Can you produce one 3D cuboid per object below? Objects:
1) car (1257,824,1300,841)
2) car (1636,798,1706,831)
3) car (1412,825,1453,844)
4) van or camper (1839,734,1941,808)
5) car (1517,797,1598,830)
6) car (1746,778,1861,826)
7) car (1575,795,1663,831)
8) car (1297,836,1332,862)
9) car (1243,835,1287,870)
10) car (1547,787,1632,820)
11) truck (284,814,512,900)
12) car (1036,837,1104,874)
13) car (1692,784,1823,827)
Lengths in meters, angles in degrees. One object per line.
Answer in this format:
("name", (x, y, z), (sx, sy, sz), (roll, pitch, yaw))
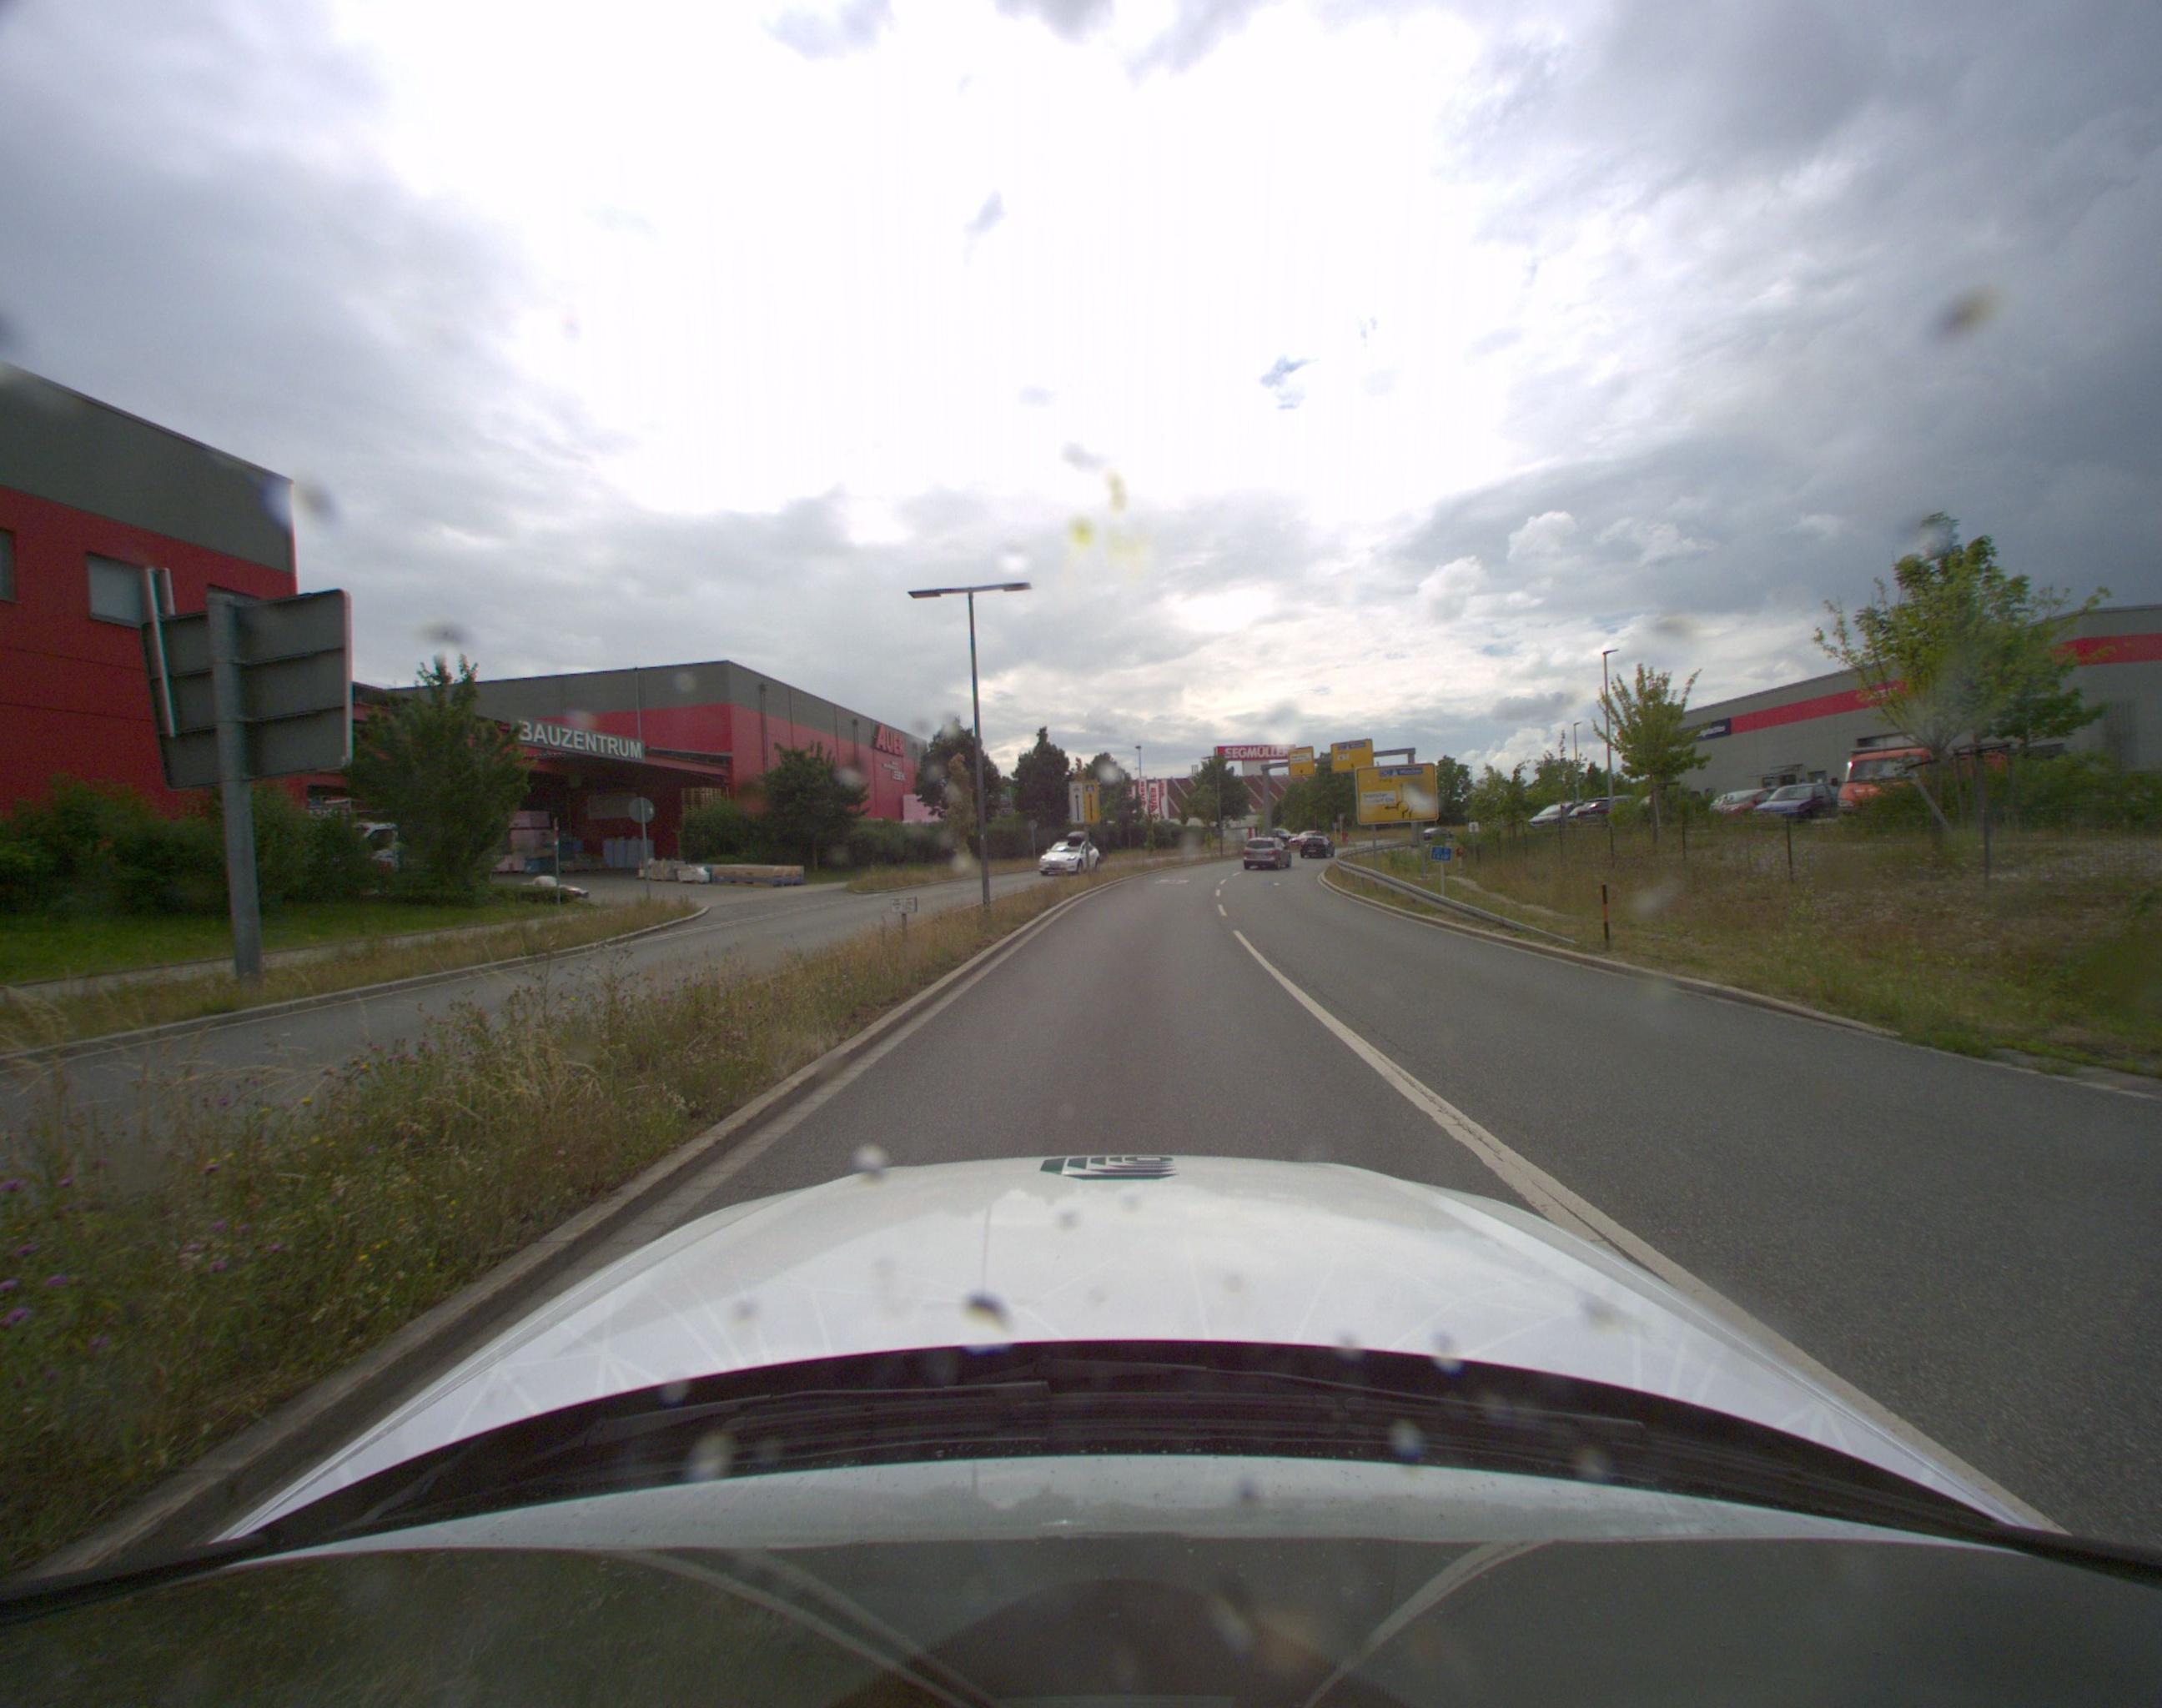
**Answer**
("car", (19.766, -2.131, 81.519), (1.878, 1.549, 4.219), (-3, 2, -26))
("car", (37.153, -2.464, 51.408), (1.691, 1.811, 3.976), (-5, 0, 5))
("car", (32.476, -1.850, 75.229), (4.021, 1.618, 1.890), (-2, -1, -40))
("van or camper", (25.227, -2.516, 25.346), (4.701, 1.997, 1.792), (-3, 1, -40))
("car", (26.347, -2.207, 45.008), (4.176, 1.782, 1.790), (-1, 2, -25))
("car", (24.599, -1.772, 27.728), (3.308, 1.381, 1.490), (-4, 0, -20))
("car", (25.771, -1.944, 39.023), (3.731, 1.653, 1.510), (-1, 2, -17))
("car", (15.724, -0.339, 54.732), (1.853, 1.605, 3.755), (-2, 0, 21))
("car", (9.475, -0.107, 41.779), (1.753, 1.616, 3.941), (-2, 0, 19))
("car", (26.590, -2.625, 42.604), (3.857, 1.653, 1.722), (-1, 2, -19))
("truck", (-22.045, 0.052, 26.766), (2.022, 2.487, 5.919), (1, 1, 7))
("car", (-0.455, 0.024, 39.485), (1.894, 1.626, 4.659), (1, 2, 18))
("car", (25.544, -1.821, 30.747), (4.589, 1.400, 1.692), (-2, 0, -20))
